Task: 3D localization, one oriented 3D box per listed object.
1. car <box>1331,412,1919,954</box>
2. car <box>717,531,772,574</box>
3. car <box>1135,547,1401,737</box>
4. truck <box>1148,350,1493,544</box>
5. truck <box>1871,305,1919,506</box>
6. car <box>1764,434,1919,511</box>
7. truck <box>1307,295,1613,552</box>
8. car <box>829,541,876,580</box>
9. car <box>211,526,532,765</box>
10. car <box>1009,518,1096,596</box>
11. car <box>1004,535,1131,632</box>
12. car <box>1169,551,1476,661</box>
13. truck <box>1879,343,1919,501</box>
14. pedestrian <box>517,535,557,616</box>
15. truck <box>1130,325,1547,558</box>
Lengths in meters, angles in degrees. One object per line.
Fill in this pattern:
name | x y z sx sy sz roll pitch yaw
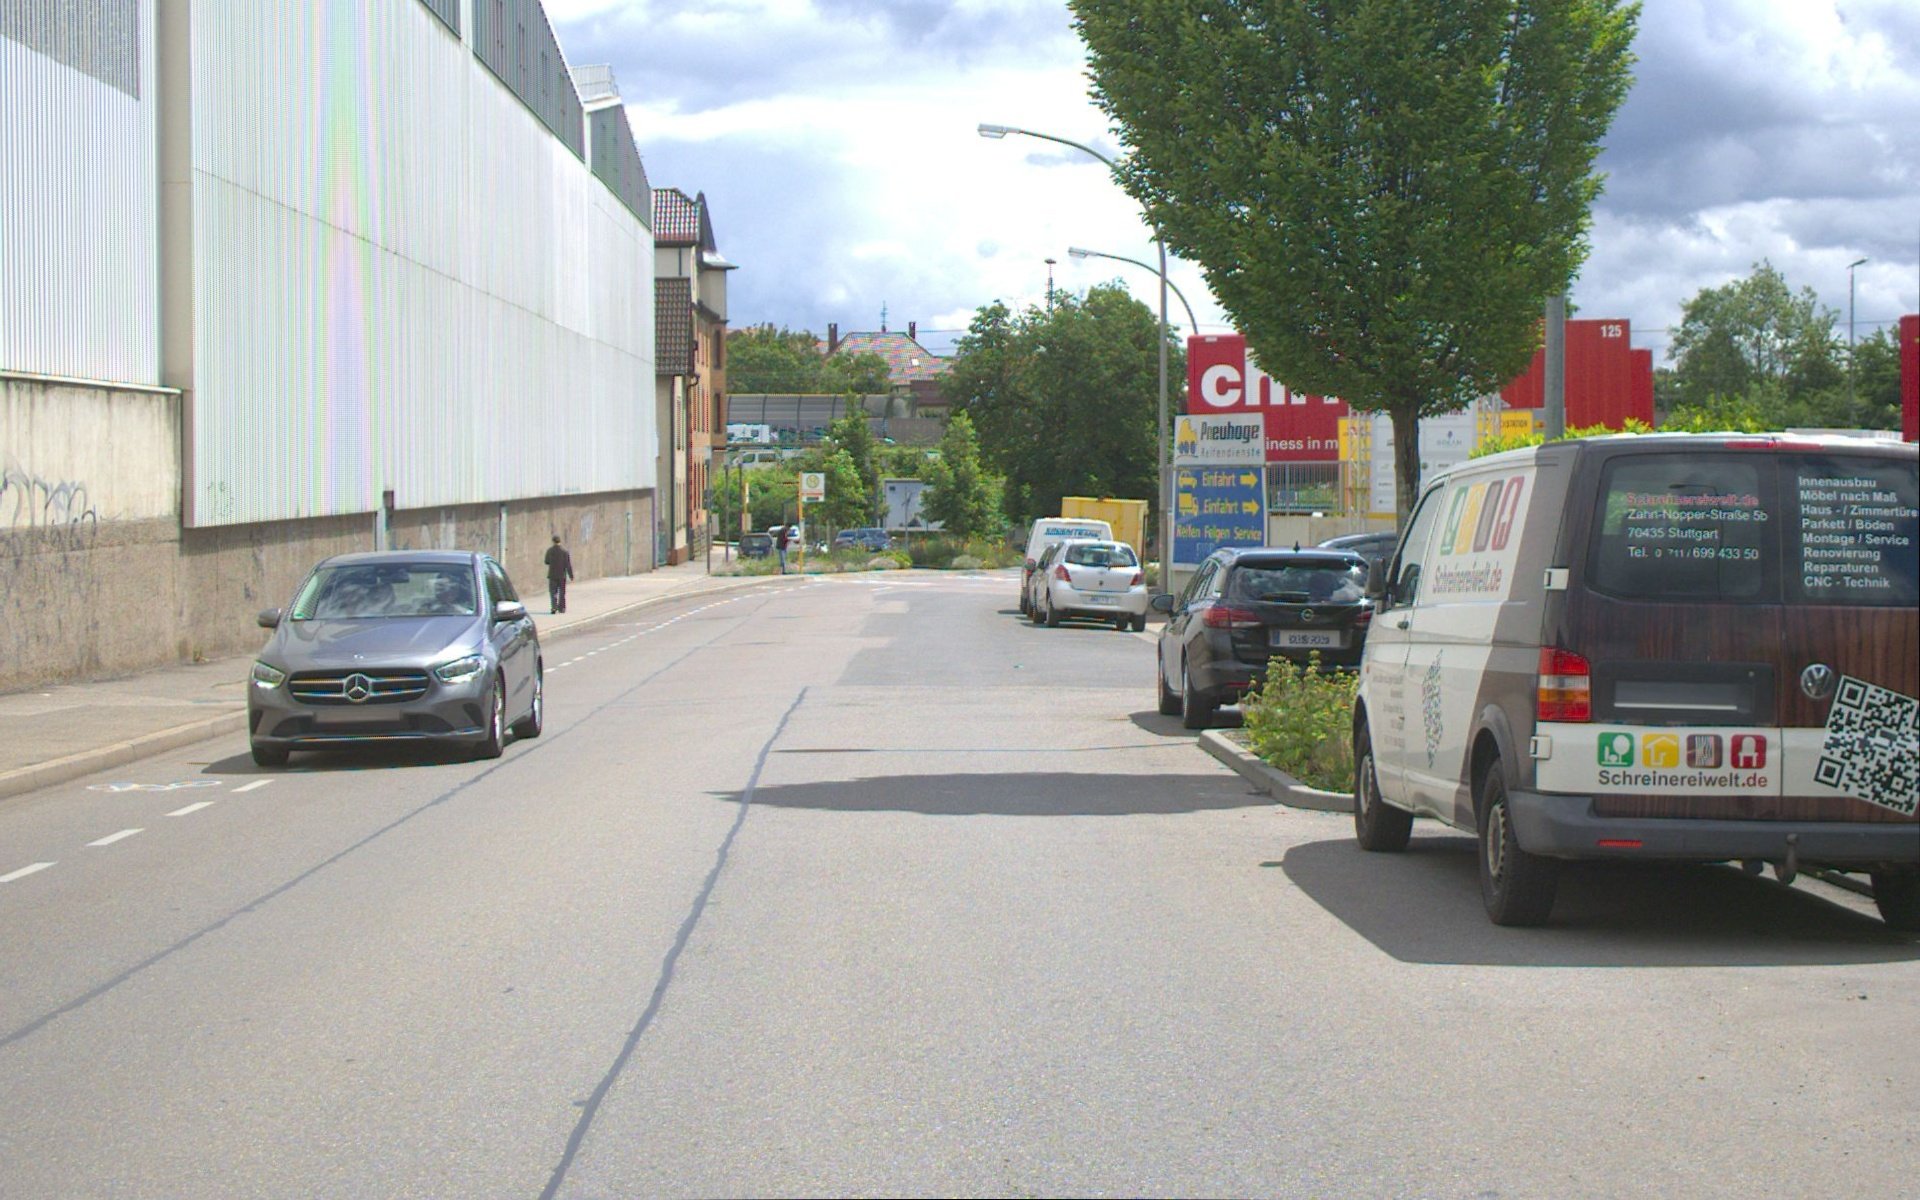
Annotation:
car | 2.913 0.267 15.168 1.869 1.983 5.144 0 1 -1
car | -7.880 -1.731 125.914 1.852 1.481 4.000 0 -1 -2
car | 2.494 0.290 28.831 1.714 1.468 4.511 0 1 -1
truck | 9.073 -3.785 86.322 8.453 4.655 2.581 0 -1 10
truck | 22.773 -4.020 73.929 2.996 4.045 8.458 -1 -1 38
car | 32.941 -4.724 128.010 5.644 2.667 1.998 0 -1 20
truck | 9.483 -3.255 66.239 2.573 4.434 7.865 0 -1 -18
car | -4.286 -1.556 137.417 1.852 1.481 4.000 0 -1 -2
car | -4.323 0.320 25.850 1.719 1.550 4.288 -3 0 -2
car | 1.856 -0.888 69.895 1.701 1.522 3.738 0 1 0
car | 1.812 -0.307 59.146 1.701 1.522 3.739 3 1 -5
car | 4.915 0.065 46.600 3.780 1.442 1.707 0 1 -23
truck | 28.190 -4.712 93.597 2.996 4.045 8.458 -1 -1 38
pedestrian | -8.583 -0.494 69.803 0.713 1.632 0.777 0 -1 1
truck | 8.030 -3.286 73.090 8.458 4.655 2.580 0 -1 20
